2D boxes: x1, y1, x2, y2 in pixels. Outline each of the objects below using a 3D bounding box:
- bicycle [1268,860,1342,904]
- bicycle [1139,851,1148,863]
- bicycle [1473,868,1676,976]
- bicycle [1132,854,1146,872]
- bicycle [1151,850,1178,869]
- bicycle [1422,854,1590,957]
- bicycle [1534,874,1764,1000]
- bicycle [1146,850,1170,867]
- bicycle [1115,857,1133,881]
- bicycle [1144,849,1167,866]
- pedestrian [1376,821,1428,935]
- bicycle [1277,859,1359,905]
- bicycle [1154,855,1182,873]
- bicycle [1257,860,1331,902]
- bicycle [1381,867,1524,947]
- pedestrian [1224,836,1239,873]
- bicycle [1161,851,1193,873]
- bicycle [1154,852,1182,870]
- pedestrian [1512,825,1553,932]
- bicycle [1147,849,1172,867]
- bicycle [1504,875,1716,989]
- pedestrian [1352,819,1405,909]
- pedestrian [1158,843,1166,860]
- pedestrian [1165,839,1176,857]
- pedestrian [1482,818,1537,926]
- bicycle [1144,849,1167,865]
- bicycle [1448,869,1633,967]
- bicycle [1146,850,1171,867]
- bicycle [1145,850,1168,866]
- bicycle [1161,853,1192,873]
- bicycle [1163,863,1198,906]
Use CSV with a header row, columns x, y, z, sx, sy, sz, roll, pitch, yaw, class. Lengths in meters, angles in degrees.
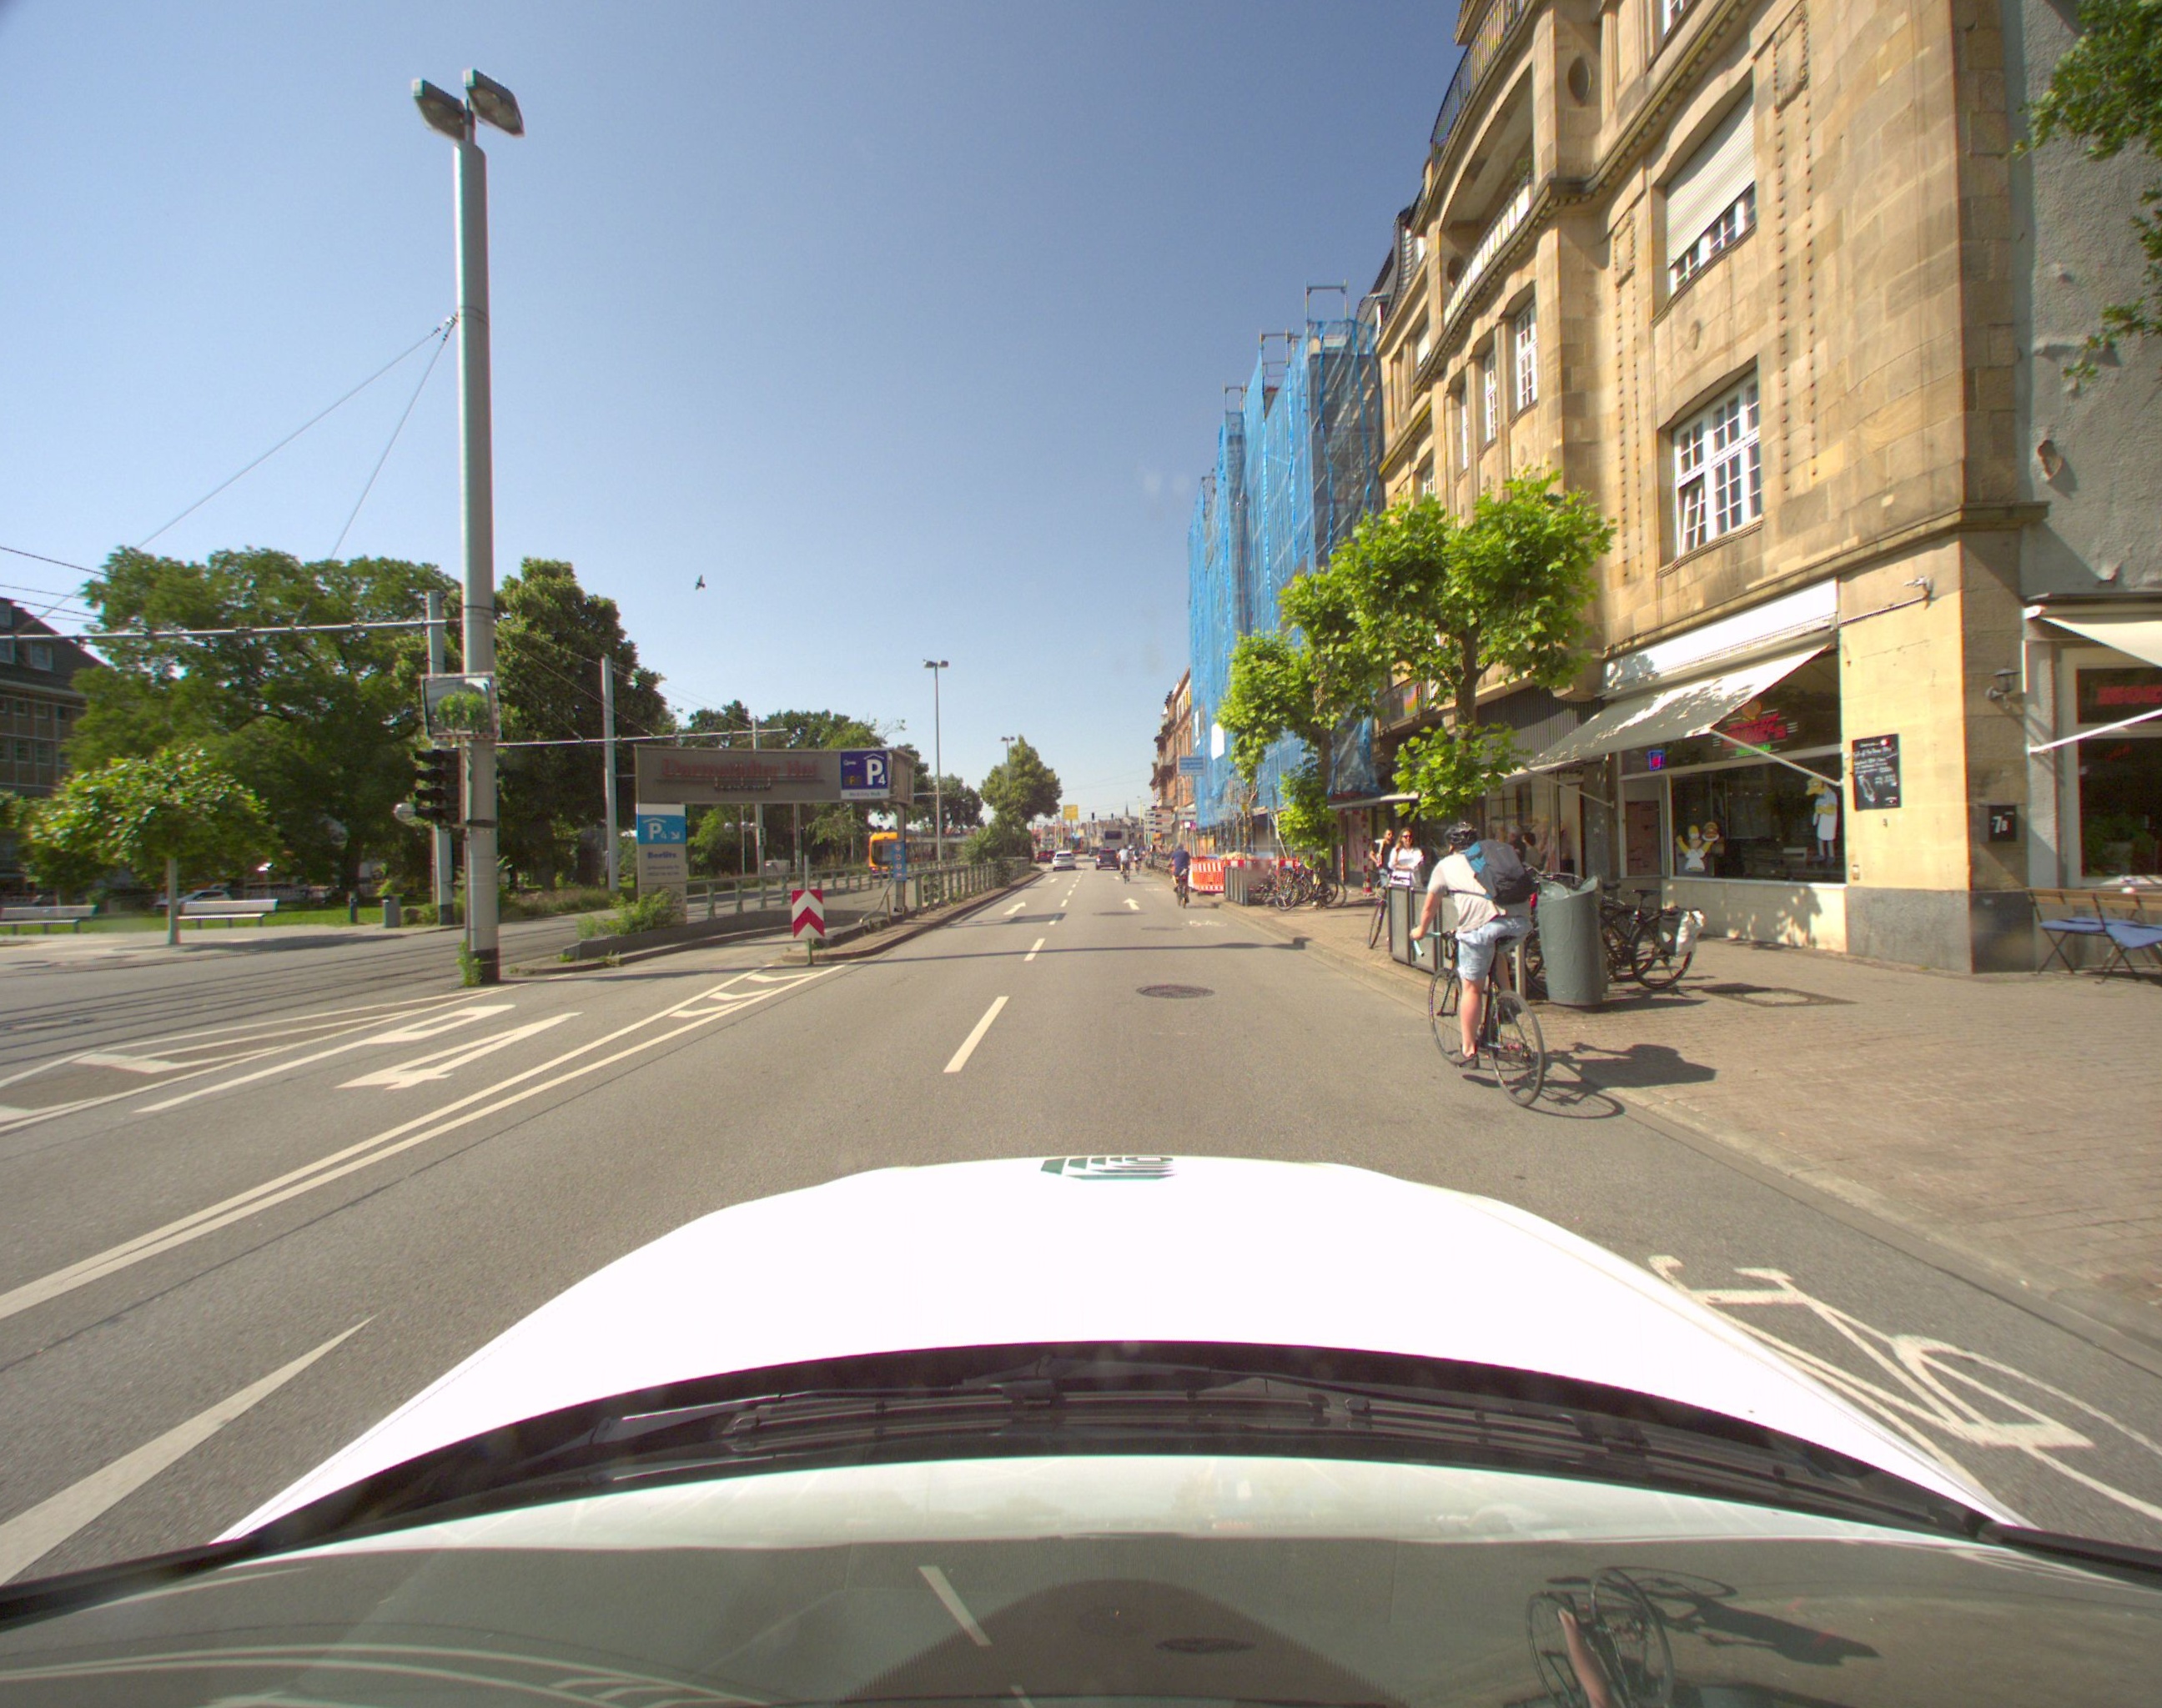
x,y,z,sx,sy,sz,roll,pitch,yaw,class
5.505,0.669,20.012,1.757,1.018,0.480,-1,0,-18,bicycle
5.941,0.254,77.012,0.731,1.093,1.898,1,0,1,bicycle
5.111,0.686,8.490,1.747,1.018,0.587,-2,0,-1,bicycle
3.568,0.537,50.414,0.731,1.093,1.898,1,0,1,bicycle
5.451,0.355,53.110,1.687,1.178,0.609,0,0,1,bicycle
5.175,0.611,9.962,1.747,1.181,0.579,-1,0,-1,bicycle
5.119,0.733,7.385,1.747,1.018,0.482,-2,0,-1,bicycle
5.481,0.317,57.956,1.687,1.178,0.491,0,0,1,bicycle
2.035,0.686,38.621,0.732,1.093,1.897,1,0,0,bicycle
5.718,0.246,62.331,1.687,1.178,0.609,-4,0,1,bicycle
4.933,0.366,12.497,0.650,1.683,0.657,-2,-1,26,pedestrian
5.480,0.636,18.876,1.747,1.018,0.482,-1,0,-1,bicycle
5.572,0.635,52.121,1.764,1.178,0.609,0,0,1,bicycle
5.436,0.689,20.829,1.747,1.018,0.482,-1,0,-1,bicycle
5.111,0.712,11.270,1.737,1.018,0.661,-1,0,23,bicycle
7.253,0.027,39.292,0.637,1.776,0.649,1,0,1,pedestrian
5.256,0.435,44.444,1.687,1.178,0.609,0,0,1,bicycle
5.417,0.451,50.819,1.687,1.087,0.609,0,0,1,bicycle
7.314,0.394,13.201,0.378,1.683,0.478,-2,-1,9,pedestrian
5.434,0.308,56.698,1.687,1.241,0.609,0,0,1,bicycle
5.104,0.738,7.902,1.747,1.018,0.482,-1,0,-1,bicycle
6.335,0.211,17.372,0.809,1.848,0.893,-3,-1,8,pedestrian
7.833,-0.272,79.133,0.652,1.620,0.815,-2,1,0,pedestrian
8.523,-0.568,77.536,0.753,1.656,0.837,-5,-1,0,pedestrian
6.876,0.290,13.067,0.539,1.683,0.494,-2,-1,-34,pedestrian
5.752,0.243,62.963,1.687,1.178,0.609,-2,1,1,bicycle
5.097,0.694,9.087,1.747,1.018,0.557,-1,0,-1,bicycle
5.439,0.325,57.362,1.687,1.178,0.497,0,0,1,bicycle
5.625,0.275,61.080,1.687,1.178,0.470,0,0,1,bicycle
5.309,0.483,45.283,1.687,1.097,0.609,0,0,1,bicycle
2.727,0.816,22.417,0.732,1.093,1.911,1,0,0,bicycle
